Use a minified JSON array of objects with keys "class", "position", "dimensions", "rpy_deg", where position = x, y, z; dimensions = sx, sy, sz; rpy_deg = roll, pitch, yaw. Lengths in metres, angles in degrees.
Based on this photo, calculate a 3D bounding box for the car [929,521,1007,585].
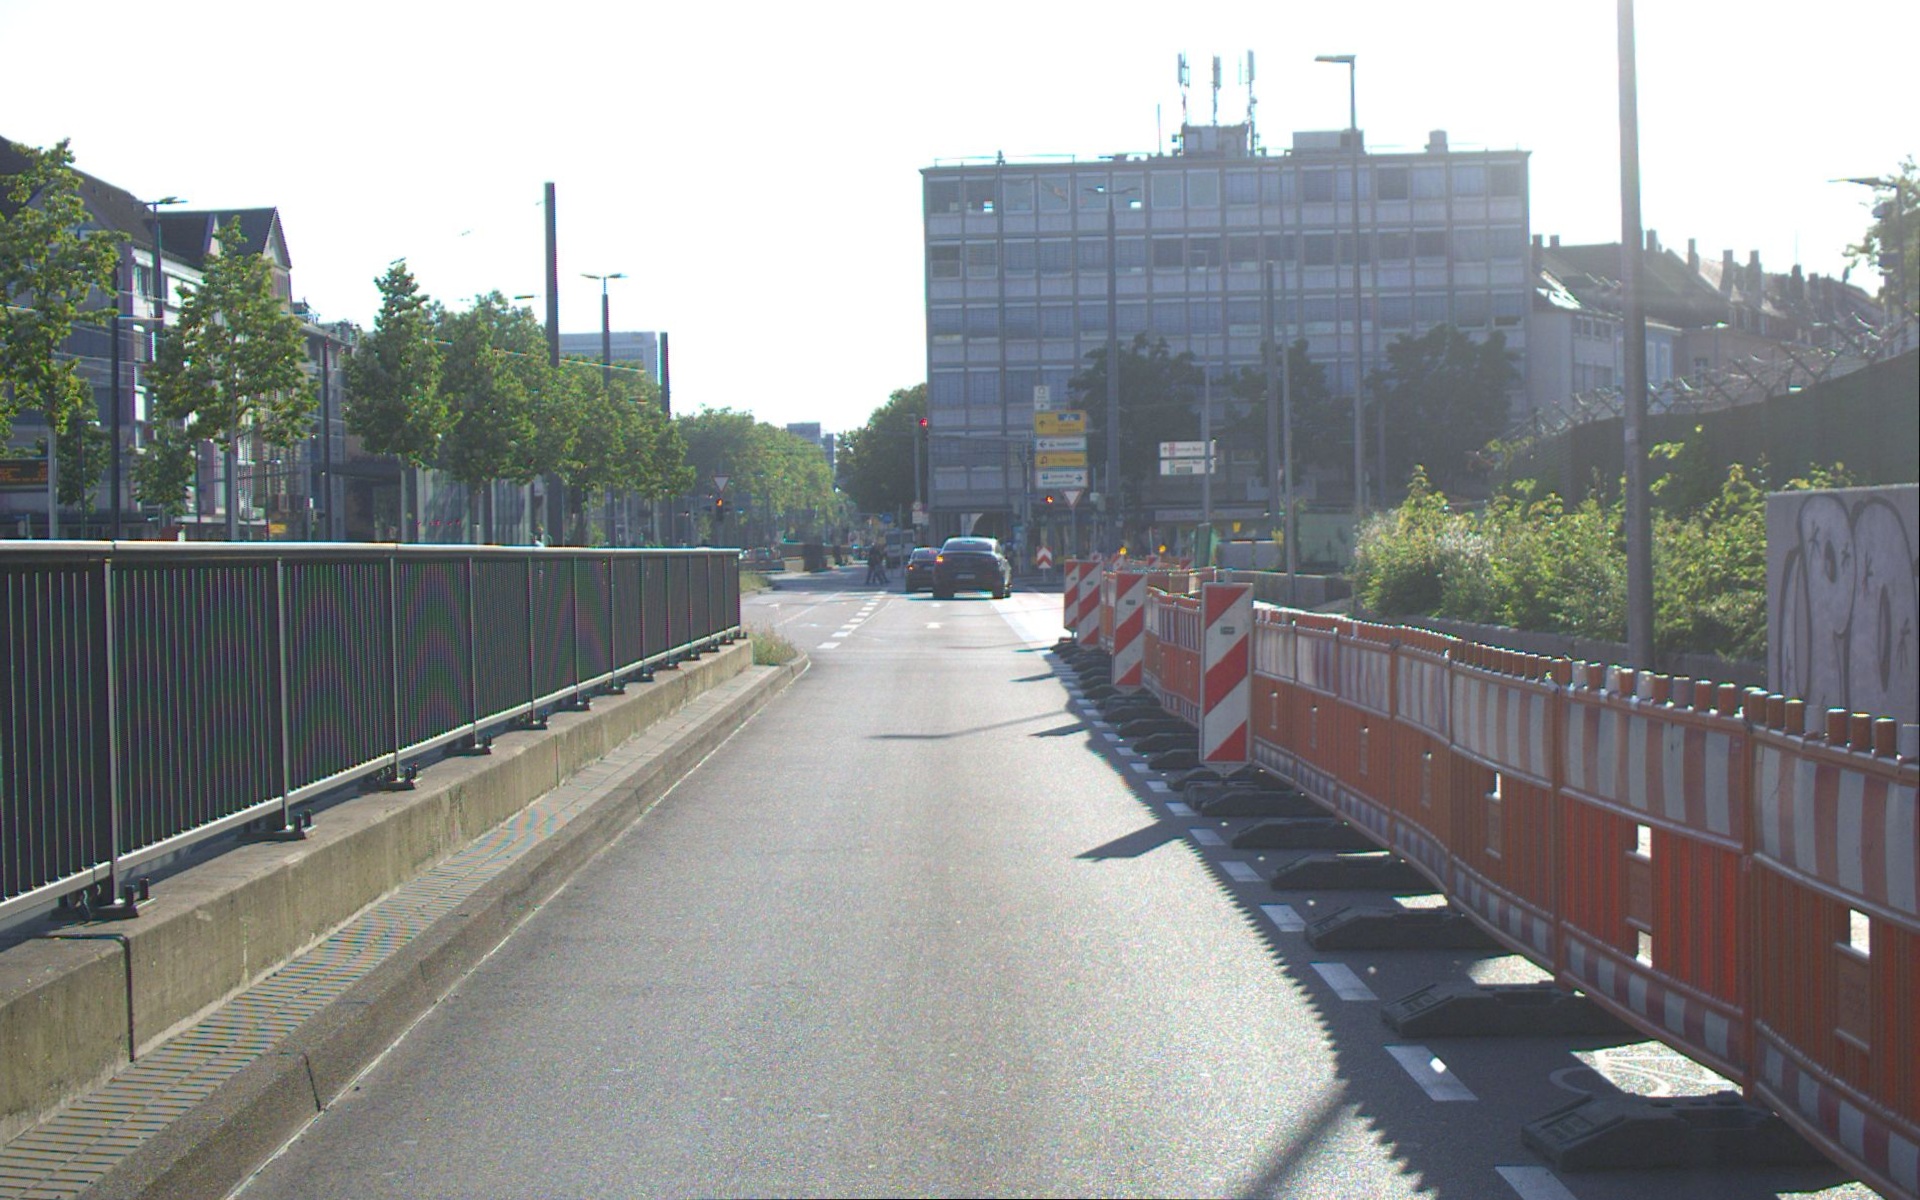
[{"class":"car","position":[0.246,-1.361,98.052],"dimensions":[1.994,1.687,4.000],"rpy_deg":[1,2,3]}]

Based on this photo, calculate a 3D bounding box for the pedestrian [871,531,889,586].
[{"class":"pedestrian","position":[-2.940,-1.522,125.976],"dimensions":[0.613,2.007,0.511],"rpy_deg":[0,1,3]}]

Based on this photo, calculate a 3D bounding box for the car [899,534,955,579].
[{"class":"car","position":[-1.095,-1.428,111.635],"dimensions":[1.743,1.421,4.000],"rpy_deg":[-1,1,-1]}]

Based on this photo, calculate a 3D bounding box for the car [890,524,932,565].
[{"class":"car","position":[-3.070,-3.466,215.666],"dimensions":[2.486,2.384,5.935],"rpy_deg":[-3,1,-1]}]

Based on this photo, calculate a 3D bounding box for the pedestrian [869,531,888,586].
[{"class":"pedestrian","position":[-2.976,-1.513,125.418],"dimensions":[0.613,2.007,0.511],"rpy_deg":[0,1,3]}]
